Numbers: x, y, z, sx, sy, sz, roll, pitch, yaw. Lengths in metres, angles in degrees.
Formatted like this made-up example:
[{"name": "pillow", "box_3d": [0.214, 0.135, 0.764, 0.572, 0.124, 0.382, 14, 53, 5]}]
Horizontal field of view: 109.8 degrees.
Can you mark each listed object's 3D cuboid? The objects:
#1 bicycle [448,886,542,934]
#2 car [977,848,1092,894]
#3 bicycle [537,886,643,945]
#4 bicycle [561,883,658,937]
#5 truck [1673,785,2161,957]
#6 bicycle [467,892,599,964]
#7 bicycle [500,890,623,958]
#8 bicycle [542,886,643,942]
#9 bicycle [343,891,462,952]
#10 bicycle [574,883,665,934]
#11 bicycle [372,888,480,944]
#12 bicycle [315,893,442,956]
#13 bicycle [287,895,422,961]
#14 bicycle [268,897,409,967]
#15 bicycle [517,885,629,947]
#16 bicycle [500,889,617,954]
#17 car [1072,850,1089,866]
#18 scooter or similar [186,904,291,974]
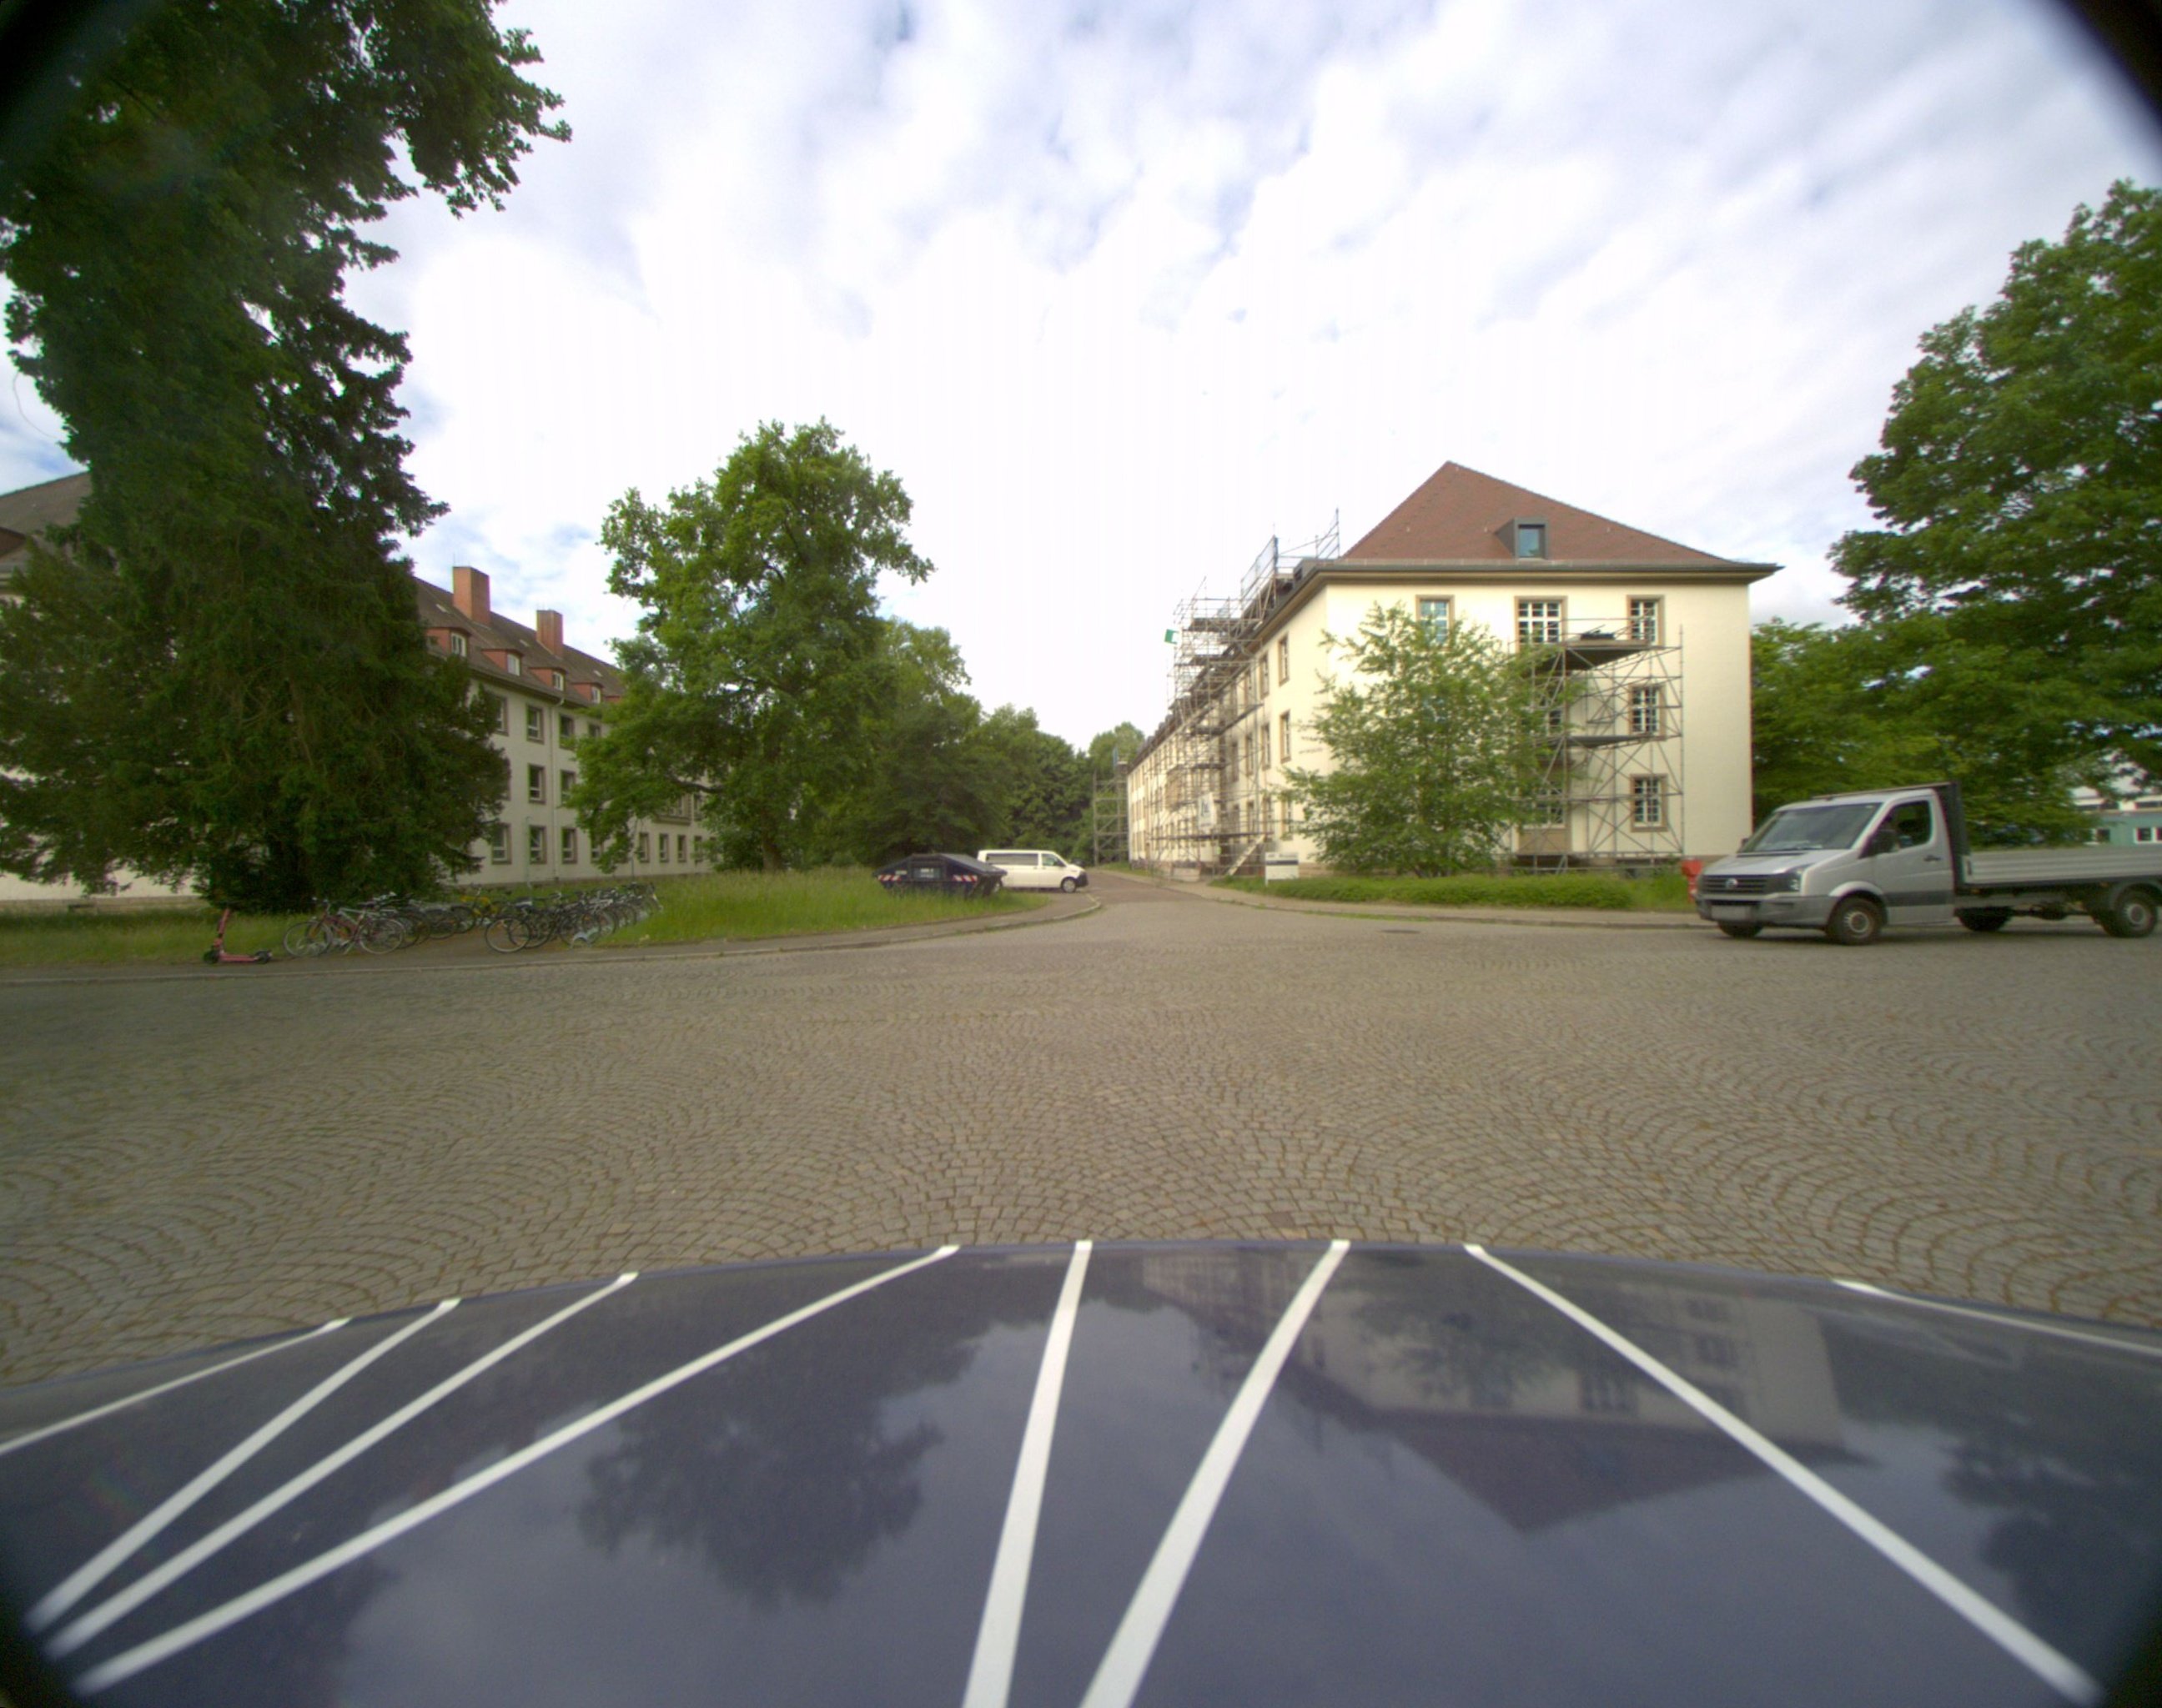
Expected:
[{"name": "bicycle", "box_3d": [-14.828, 1.402, 19.260, 1.860, 1.163, 0.487, 0, 0, -12]}, {"name": "car", "box_3d": [-2.142, 0.746, 35.431, 5.150, 2.002, 1.999, -1, 1, -3]}, {"name": "bicycle", "box_3d": [-11.266, 1.400, 17.509, 1.942, 1.163, 0.487, -3, 1, -25]}, {"name": "bicycle", "box_3d": [-11.718, 1.381, 18.955, 1.942, 1.163, 0.487, -3, 1, -25]}, {"name": "truck", "box_3d": [13.557, 0.227, 11.953, 7.084, 2.352, 1.993, -1, -1, -3]}, {"name": "bicycle", "box_3d": [-10.442, 1.384, 14.560, 1.942, 1.163, 0.487, -3, 1, -30]}, {"name": "bicycle", "box_3d": [-10.364, 1.374, 15.242, 1.942, 1.163, 0.487, -3, 1, -30]}, {"name": "bicycle", "box_3d": [-11.756, 1.418, 18.340, 1.942, 1.163, 0.487, -3, 1, -25]}, {"name": "bicycle", "box_3d": [-14.893, 1.463, 16.733, 1.862, 1.163, 0.487, -2, 1, -32]}, {"name": "bicycle", "box_3d": [-12.218, 1.426, 20.169, 1.941, 1.163, 0.536, -3, 1, -19]}, {"name": "bicycle", "box_3d": [-15.551, 1.447, 18.092, 1.862, 1.163, 0.487, -2, 1, -32]}, {"name": "bicycle", "box_3d": [-14.711, 1.460, 15.974, 1.862, 1.163, 0.487, -2, 1, -24]}, {"name": "bicycle", "box_3d": [-14.549, 1.458, 15.270, 1.862, 1.163, 0.487, -2, 1, -28]}, {"name": "bicycle", "box_3d": [-14.319, 1.476, 14.714, 1.862, 1.163, 0.487, -2, 1, -28]}, {"name": "bicycle", "box_3d": [-11.134, 1.340, 16.735, 1.942, 1.163, 0.487, -3, 1, -28]}, {"name": "bicycle", "box_3d": [-11.038, 1.400, 16.127, 1.942, 1.163, 0.487, -3, 1, -28]}, {"name": "car", "box_3d": [-0.085, 0.542, 102.024, 1.963, 2.002, 4.259, -1, 0, -4]}, {"name": "scooter or similar", "box_3d": [-15.369, 1.535, 13.879, 1.308, 1.163, 0.413, -3, 1, -4]}]
